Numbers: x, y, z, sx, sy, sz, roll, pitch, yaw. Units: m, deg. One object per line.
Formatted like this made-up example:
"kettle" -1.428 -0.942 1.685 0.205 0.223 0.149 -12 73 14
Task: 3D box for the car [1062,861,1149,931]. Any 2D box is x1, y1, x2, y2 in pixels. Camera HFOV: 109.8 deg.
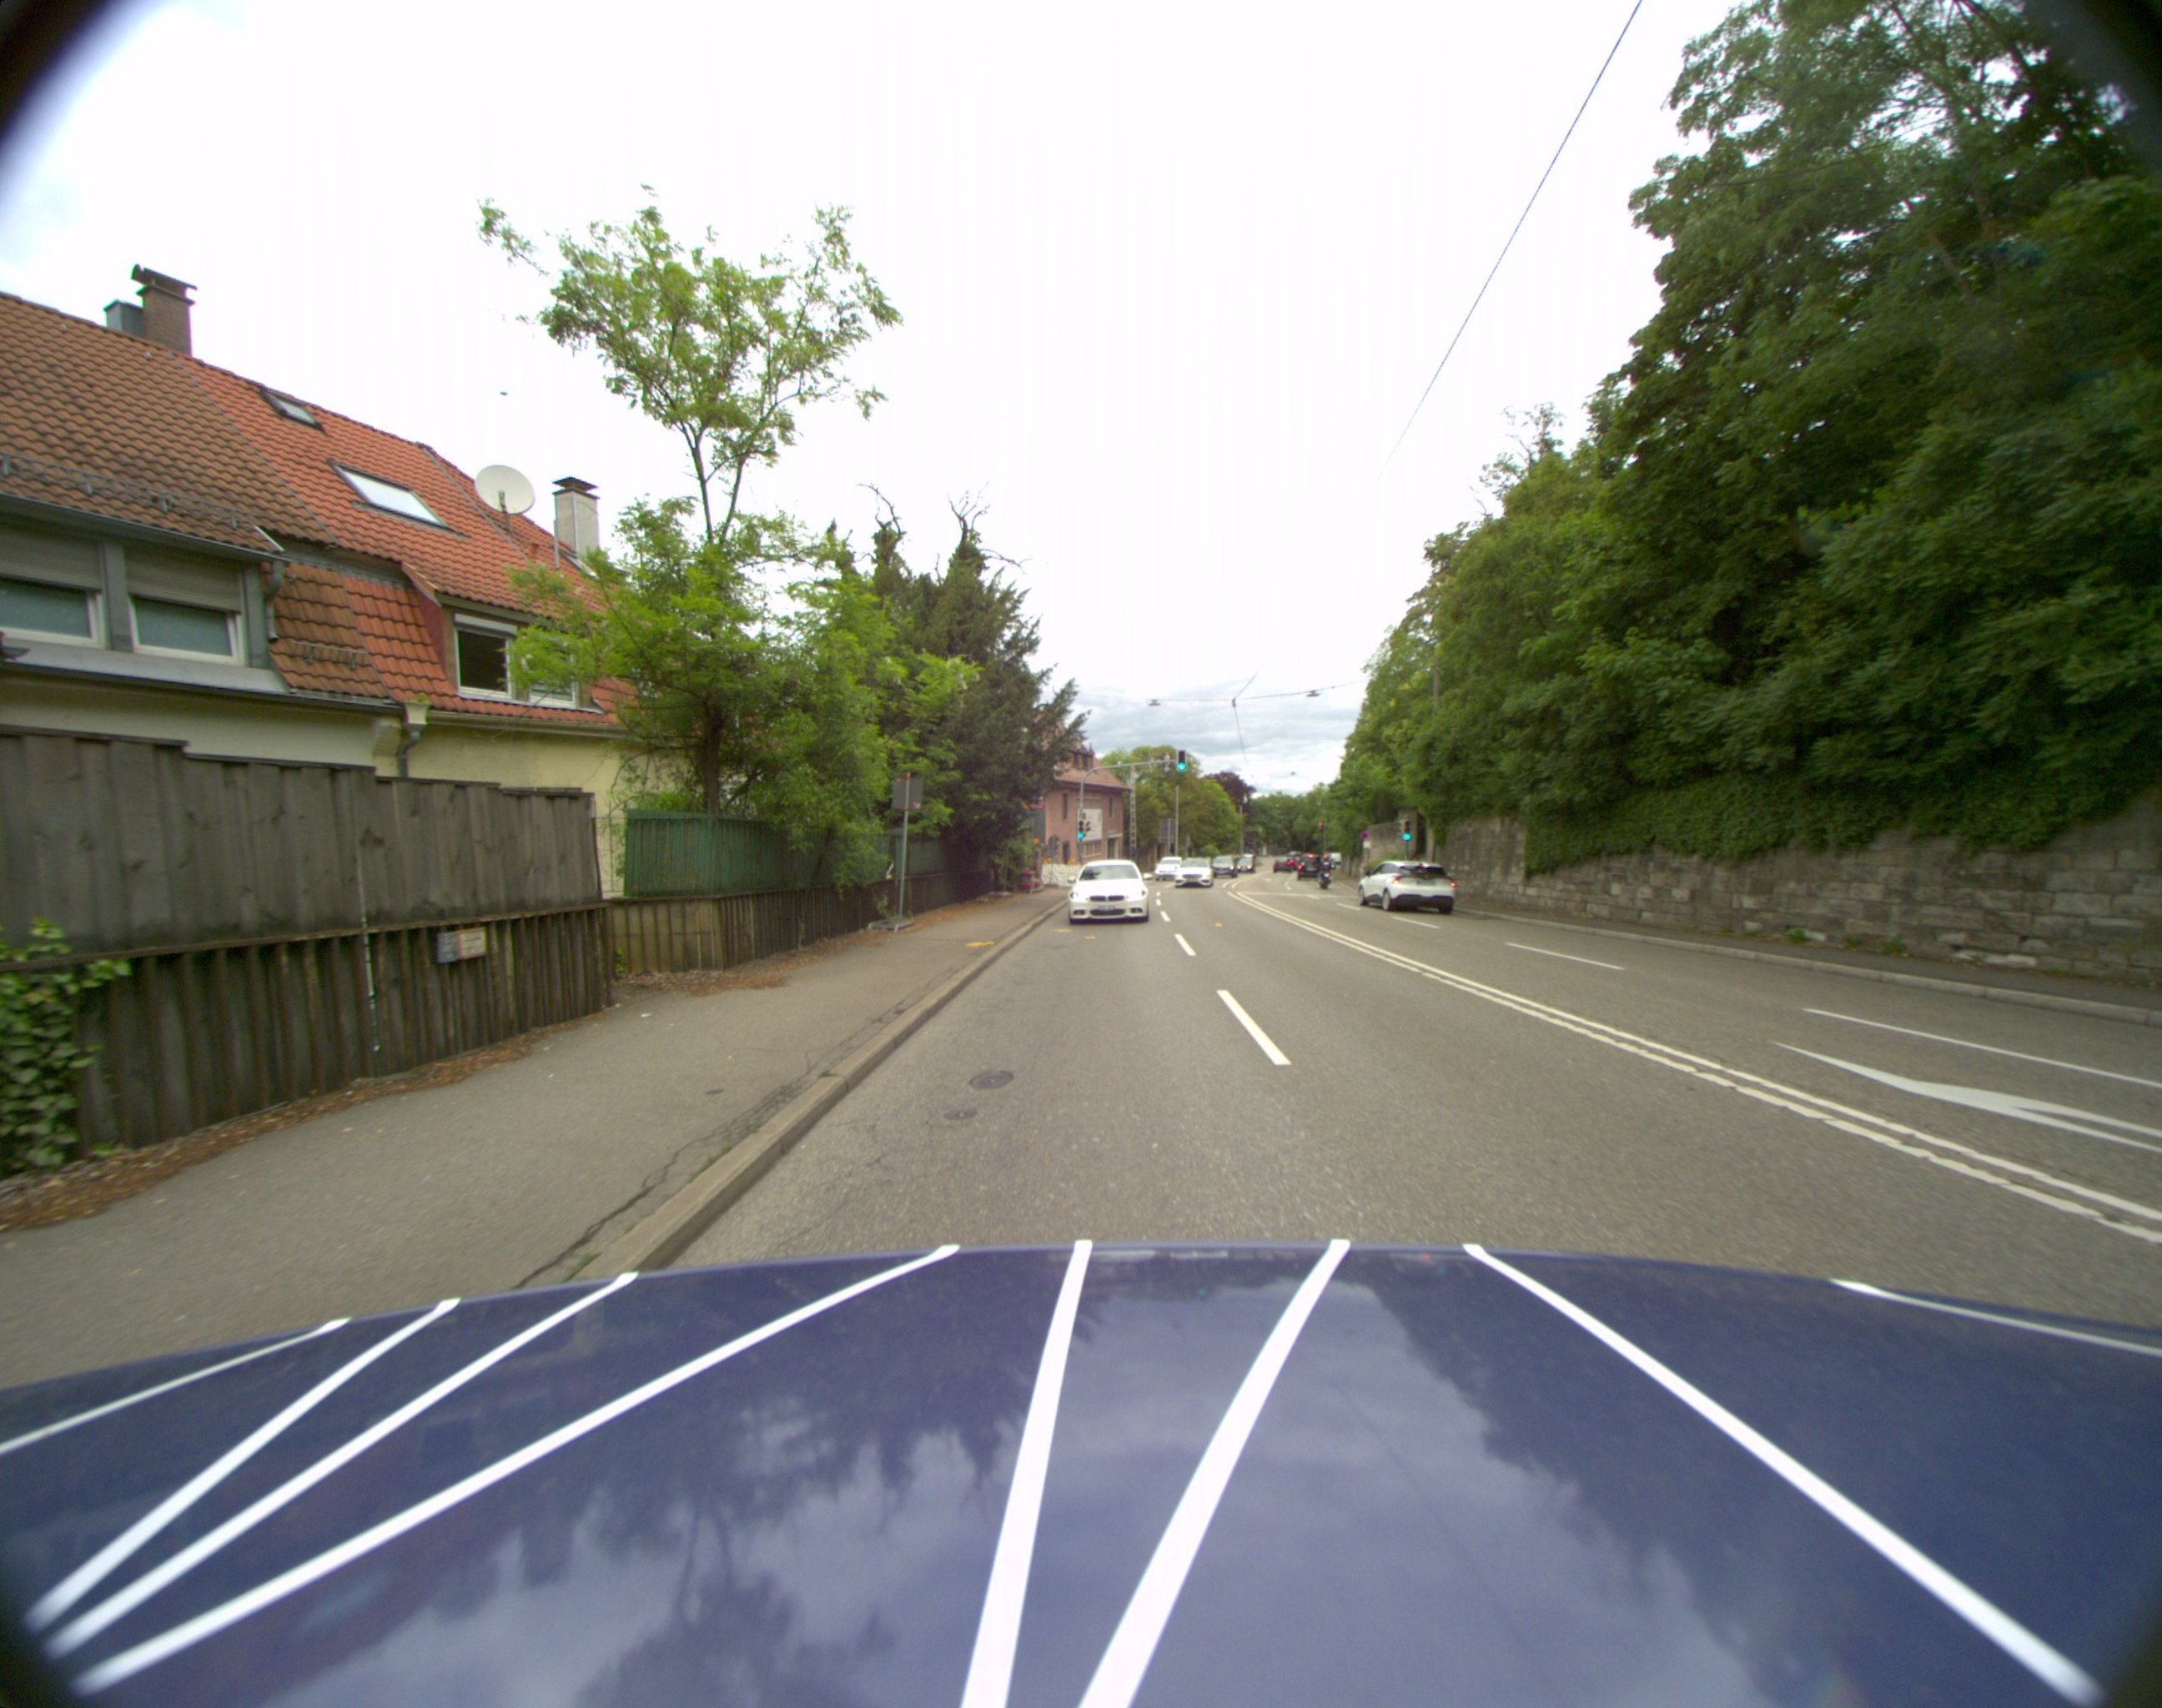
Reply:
"car" 0.607 0.917 18.279 1.822 1.462 4.786 0 -1 2

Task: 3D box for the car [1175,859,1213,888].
"car" 5.744 0.960 38.555 1.801 1.382 3.530 1 0 9

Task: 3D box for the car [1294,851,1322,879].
"car" 16.217 0.745 54.164 1.745 1.835 4.254 -1 1 19

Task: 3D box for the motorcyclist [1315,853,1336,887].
"motorcyclist" 12.454 0.820 38.693 0.650 1.695 1.338 2 0 3

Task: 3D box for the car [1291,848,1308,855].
"car" 44.390 -0.556 154.378 1.848 1.401 4.453 2 1 -6

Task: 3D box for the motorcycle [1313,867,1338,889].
"motorcycle" 12.436 1.203 38.710 0.651 1.067 2.308 2 0 3

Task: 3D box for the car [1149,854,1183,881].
"car" 5.804 0.907 51.466 1.956 1.761 4.004 1 0 10

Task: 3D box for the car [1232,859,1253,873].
"car" 16.176 1.164 76.172 1.833 1.369 4.005 1 0 15

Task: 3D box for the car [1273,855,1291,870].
"car" 21.228 0.894 80.311 1.757 1.557 3.683 1 0 14

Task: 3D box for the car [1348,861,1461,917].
"car" 9.699 0.994 23.153 1.786 1.458 4.102 2 0 3

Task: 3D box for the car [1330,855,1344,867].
"car" 39.826 1.007 118.274 1.895 1.837 4.402 1 0 16

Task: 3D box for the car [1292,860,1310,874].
"car" 27.855 1.585 96.065 1.962 1.739 4.885 1 0 19

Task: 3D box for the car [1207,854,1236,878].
"car" 10.643 0.911 57.242 1.956 1.730 4.004 1 0 13
